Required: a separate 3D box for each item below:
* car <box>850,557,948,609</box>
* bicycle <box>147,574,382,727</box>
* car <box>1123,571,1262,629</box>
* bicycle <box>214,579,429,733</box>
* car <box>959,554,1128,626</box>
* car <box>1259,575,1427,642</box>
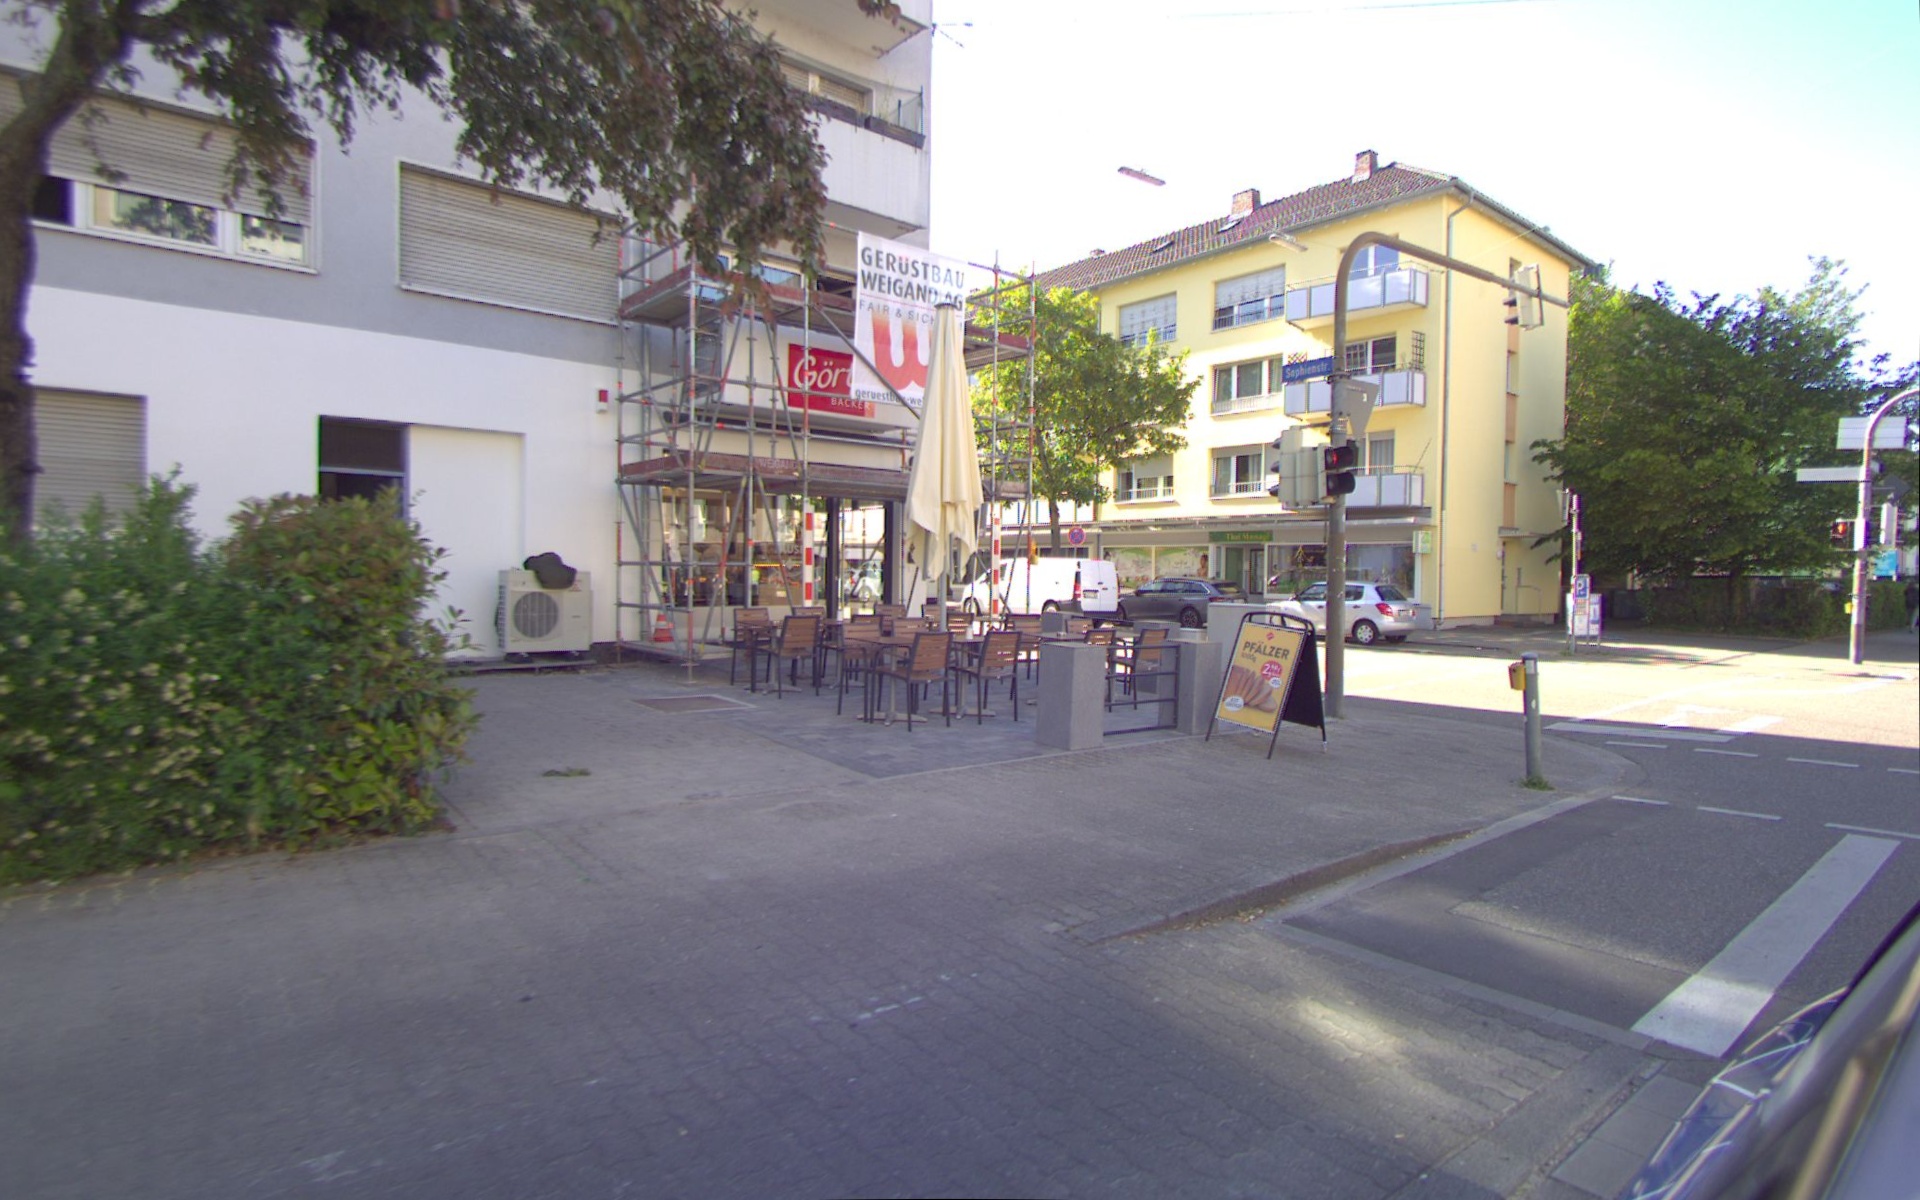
[{"bbox_3d":[-2.402,-0.699,38.878,1.800,1.871,4.177,-1,2,-36],"label":"car"},{"bbox_3d":[-5.540,0.366,8.111,1.512,1.108,0.533,0,2,-39],"label":"bicycle"},{"bbox_3d":[6.518,-0.048,28.613,1.551,1.500,3.644,-1,2,-39],"label":"car"},{"bbox_3d":[-4.895,0.398,7.802,1.359,1.094,0.373,0,2,-39],"label":"bicycle"},{"bbox_3d":[2.280,-0.323,28.948,1.832,1.883,4.960,1,1,-40],"label":"car"},{"bbox_3d":[9.399,0.149,25.030,1.455,1.500,3.644,0,2,-39],"label":"car"}]
